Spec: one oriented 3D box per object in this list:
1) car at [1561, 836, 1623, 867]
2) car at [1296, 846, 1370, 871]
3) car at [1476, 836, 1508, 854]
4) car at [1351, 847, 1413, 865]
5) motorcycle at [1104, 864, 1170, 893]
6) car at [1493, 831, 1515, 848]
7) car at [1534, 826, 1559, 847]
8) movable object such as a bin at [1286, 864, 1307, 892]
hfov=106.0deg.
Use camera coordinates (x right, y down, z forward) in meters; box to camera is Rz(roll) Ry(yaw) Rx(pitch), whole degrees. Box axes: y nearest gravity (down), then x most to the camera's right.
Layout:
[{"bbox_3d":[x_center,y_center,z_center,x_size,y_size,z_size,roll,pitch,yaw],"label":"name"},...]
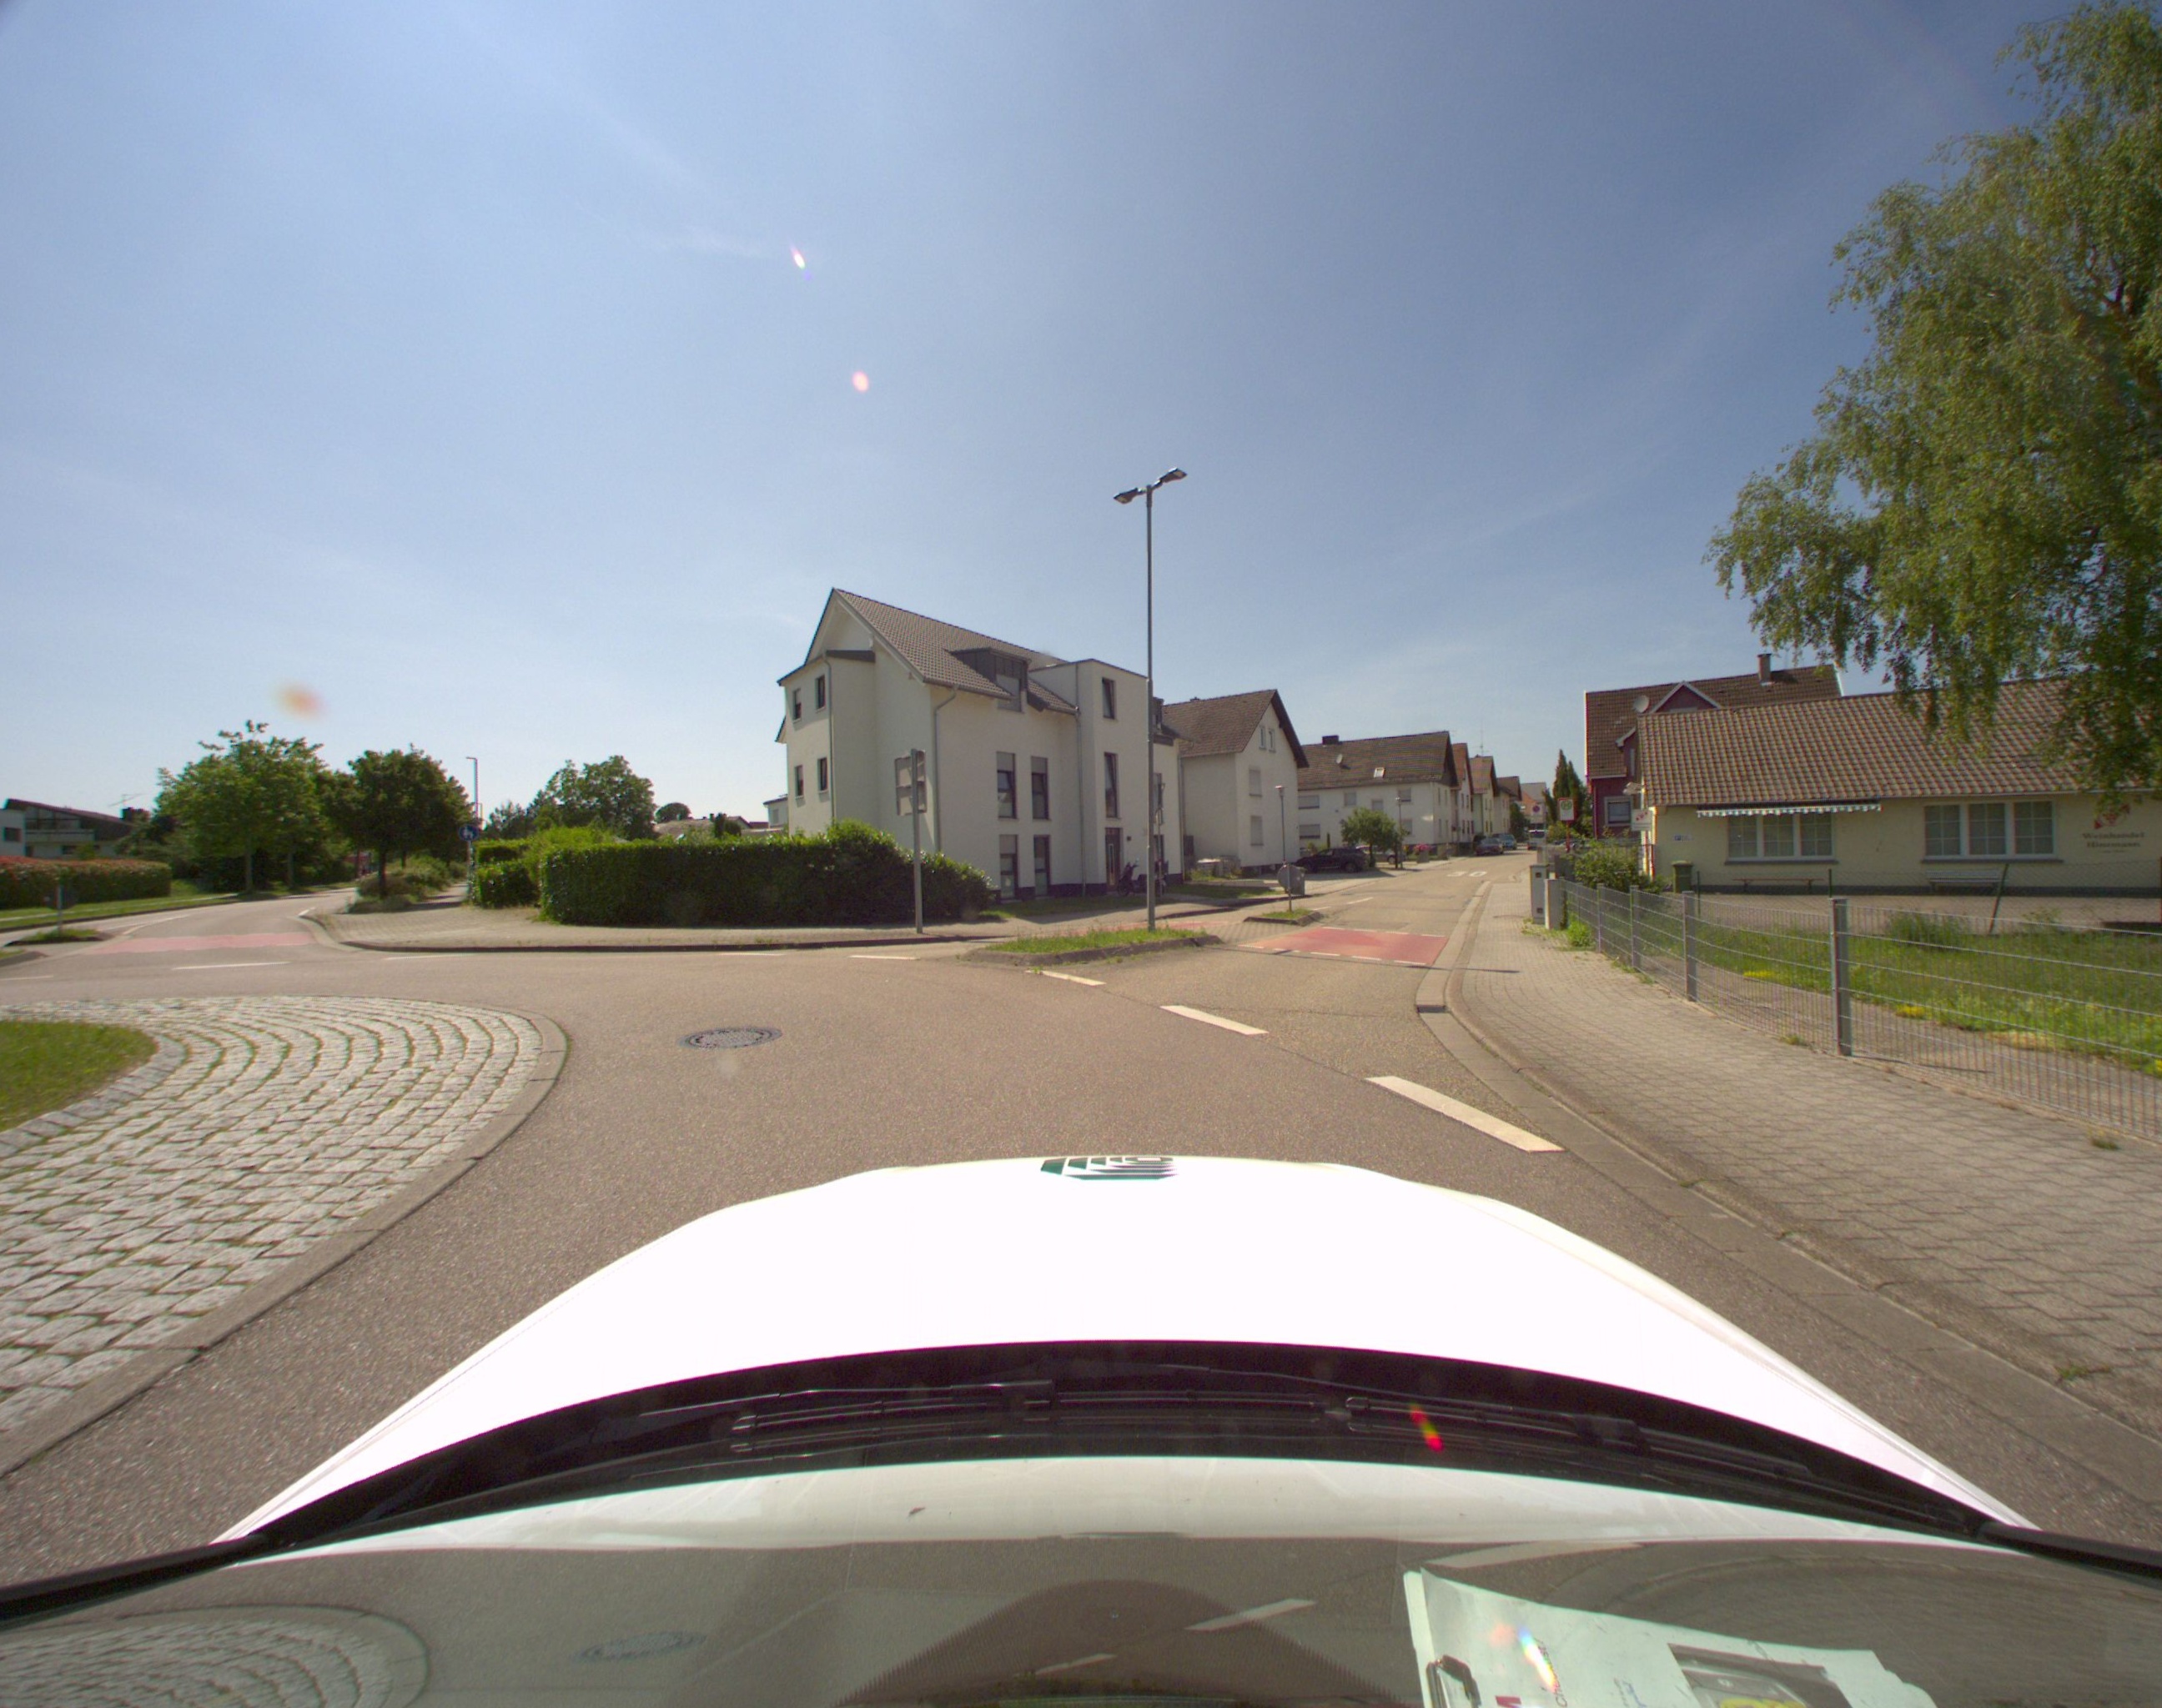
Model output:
[{"bbox_3d":[27.269,-0.118,43.462,2.717,1.598,1.179,-2,-1,33],"label":"car"},{"bbox_3d":[15.068,0.250,48.779,3.949,1.383,1.671,-1,0,30],"label":"car"},{"bbox_3d":[35.843,-0.794,70.949,1.974,1.553,4.026,-1,0,34],"label":"car"},{"bbox_3d":[22.087,0.159,59.775,3.949,1.190,1.852,-1,0,30],"label":"car"},{"bbox_3d":[1.995,0.887,29.274,2.338,1.013,0.676,-1,-2,36],"label":"motorcycle"},{"bbox_3d":[43.416,-1.458,83.536,1.906,1.604,4.024,-1,0,27],"label":"car"},{"bbox_3d":[44.754,-1.655,78.275,1.833,1.787,4.025,-2,-1,33],"label":"car"},{"bbox_3d":[8.494,0.955,32.164,0.639,1.083,0.462,-1,0,41],"label":"movable object such as a bin"}]
